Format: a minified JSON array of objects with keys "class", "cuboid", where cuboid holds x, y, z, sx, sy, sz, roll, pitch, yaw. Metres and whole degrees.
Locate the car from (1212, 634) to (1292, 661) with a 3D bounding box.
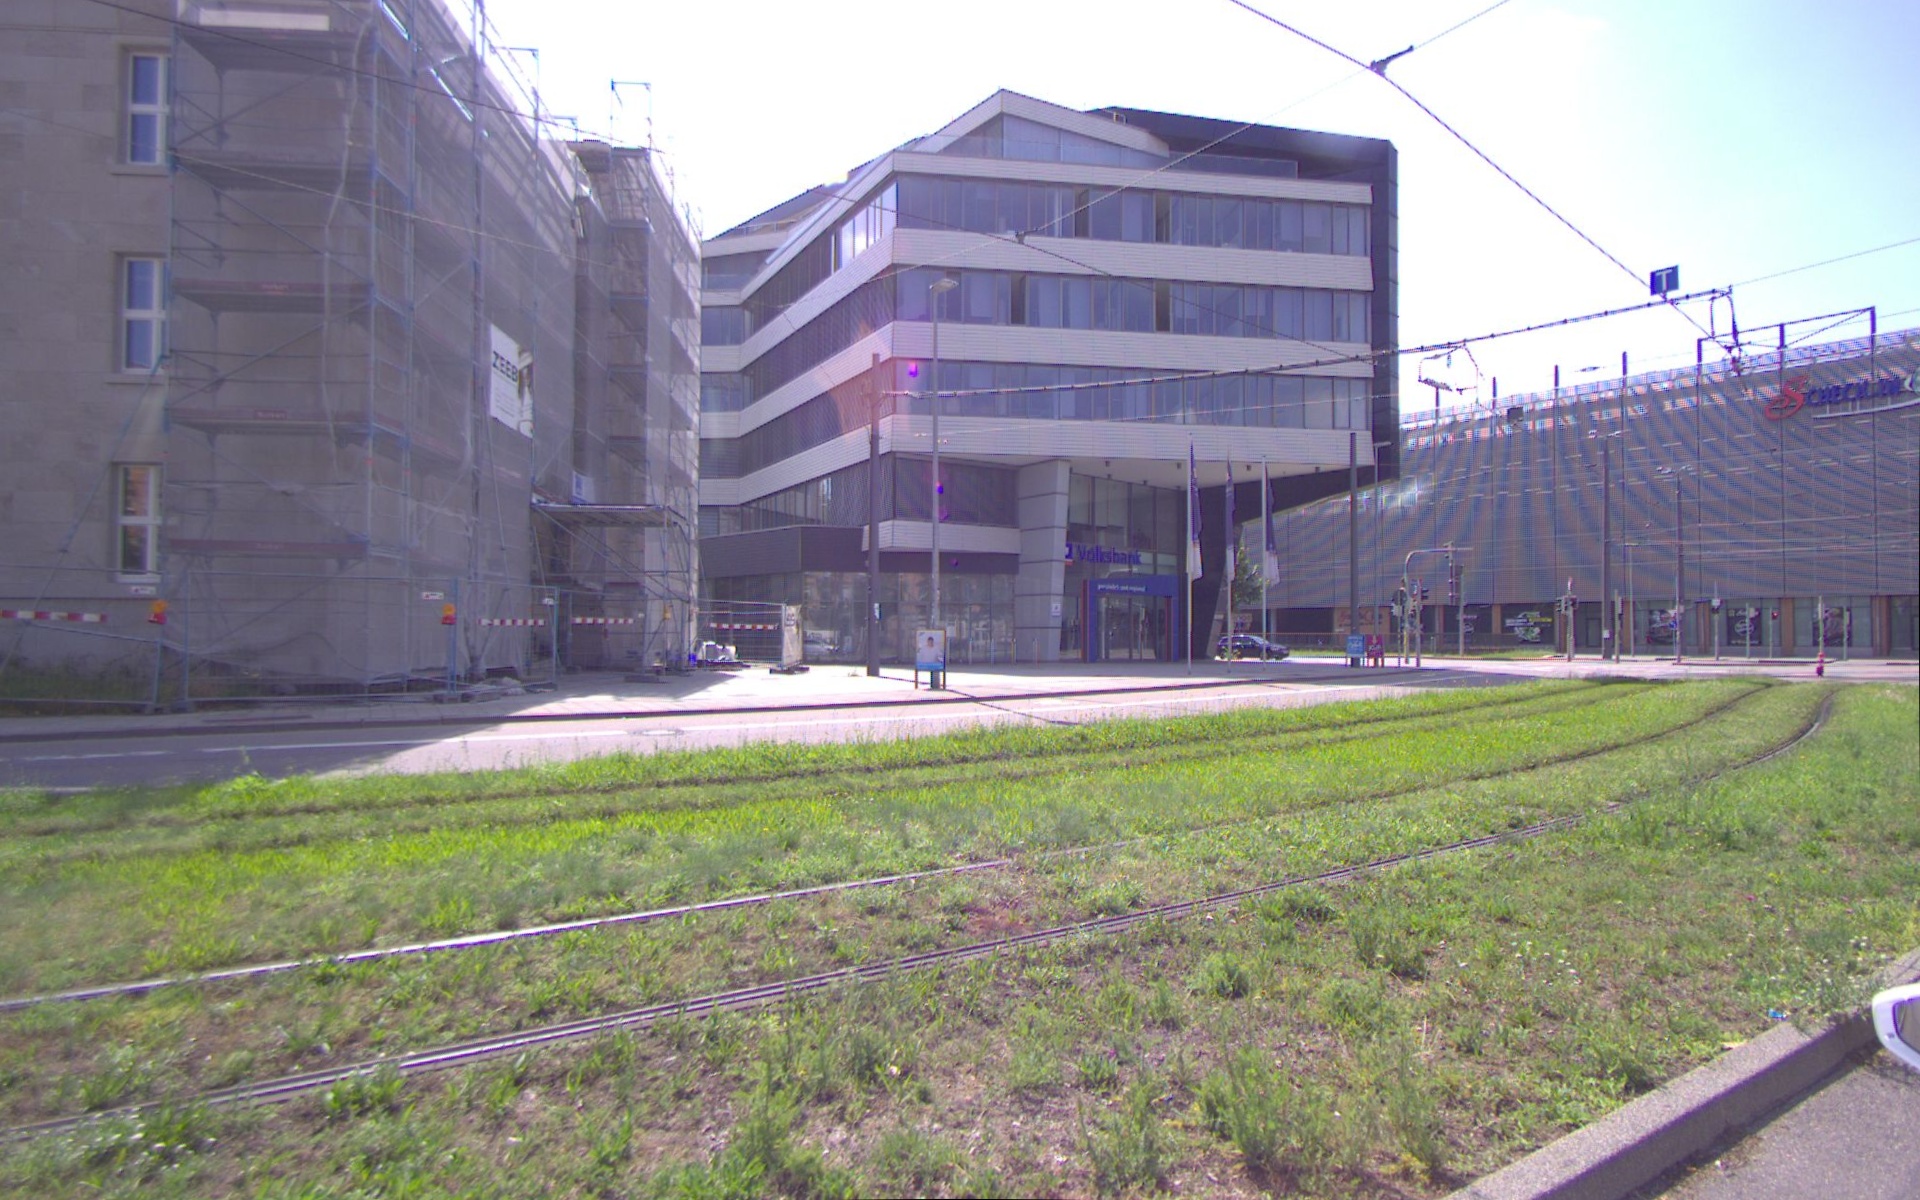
[{"class":"car","cuboid":[16.707,2.714,57.610,1.813,1.488,4.063,1,-2,-41]}]
